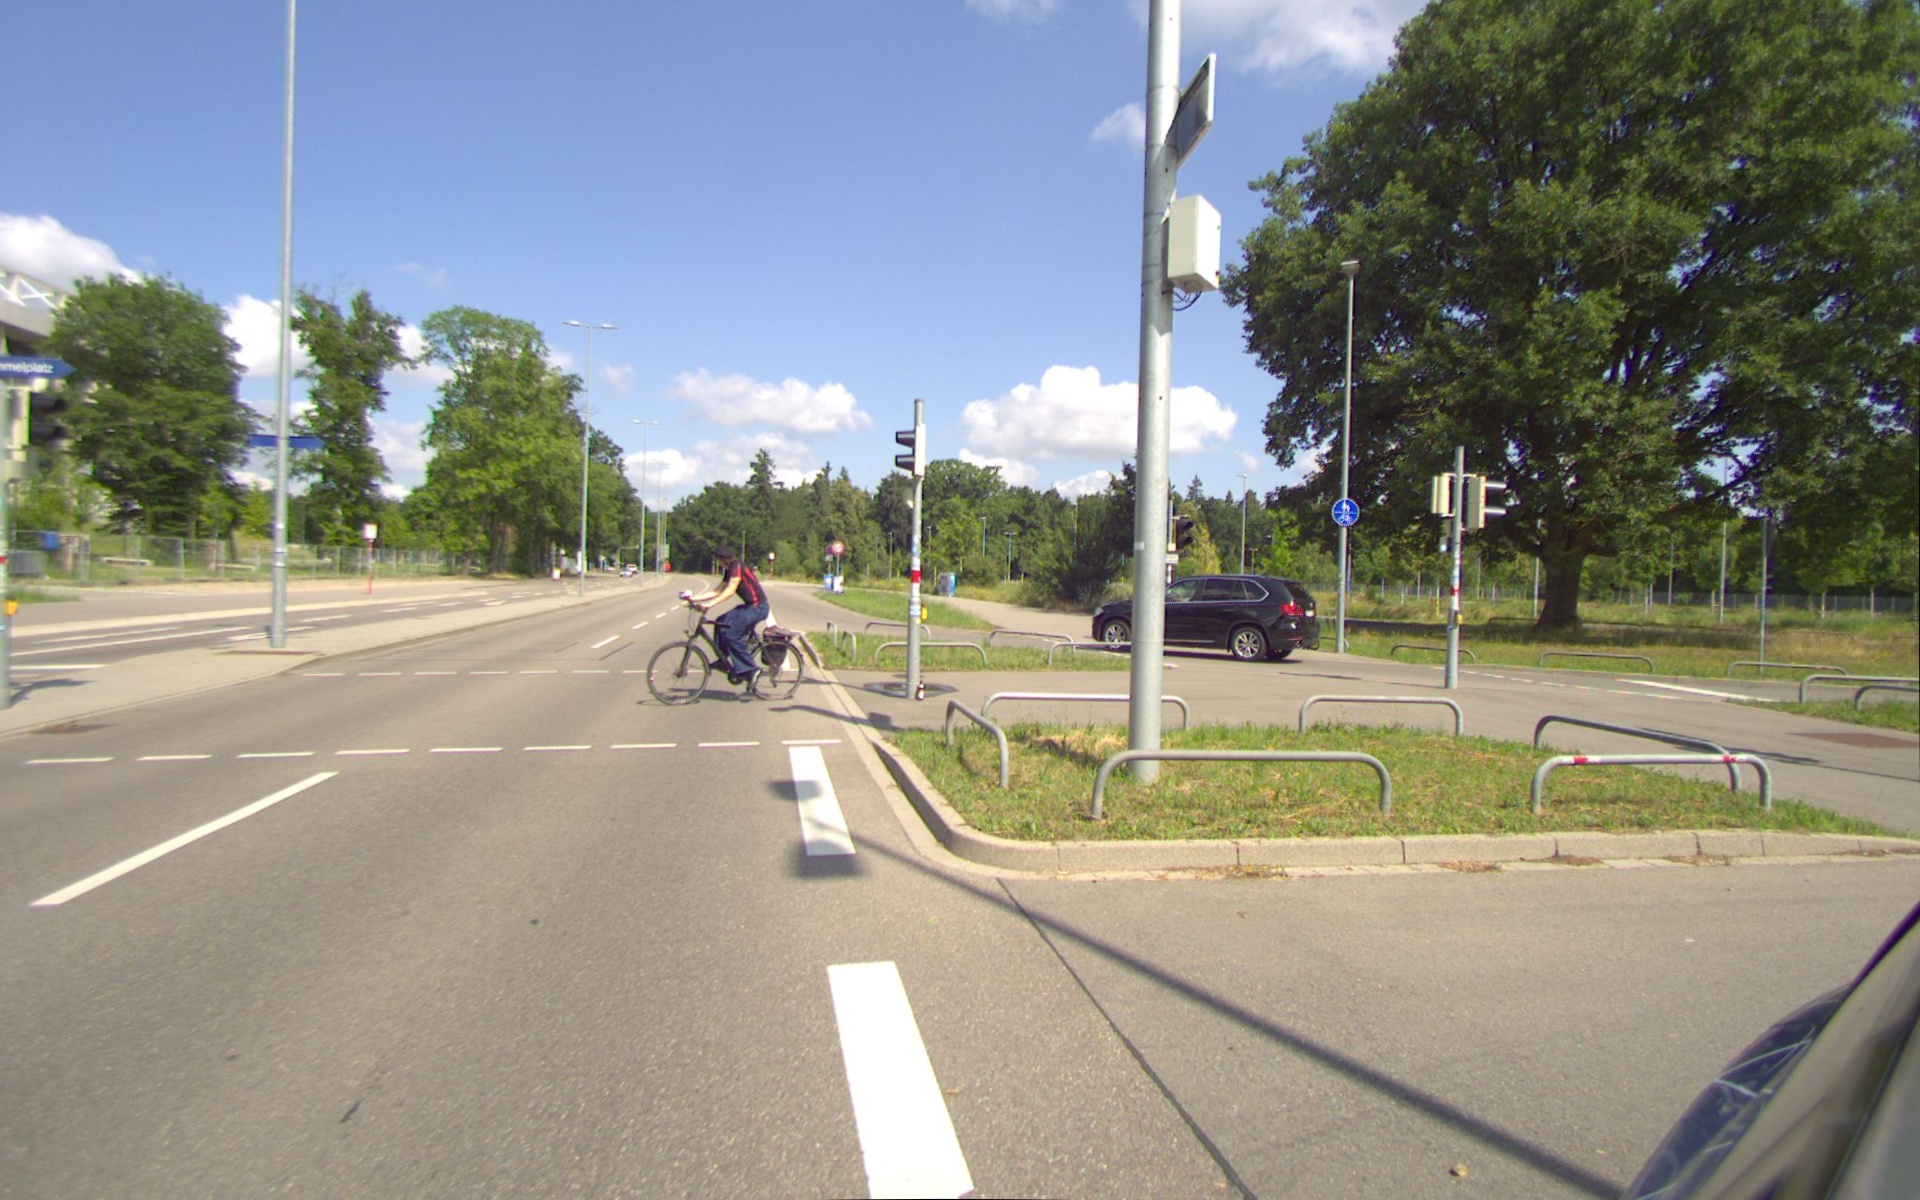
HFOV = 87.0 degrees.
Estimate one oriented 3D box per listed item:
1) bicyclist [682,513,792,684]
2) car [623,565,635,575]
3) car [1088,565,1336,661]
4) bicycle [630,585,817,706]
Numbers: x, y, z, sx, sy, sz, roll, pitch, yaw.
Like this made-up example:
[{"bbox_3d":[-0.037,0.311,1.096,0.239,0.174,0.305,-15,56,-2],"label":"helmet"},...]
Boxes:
[{"bbox_3d":[-2.526,-0.041,11.437,0.960,1.819,0.888,-1,2,-34],"label":"bicyclist"},{"bbox_3d":[-51.006,-4.685,155.875,1.547,1.497,3.579,0,2,-16],"label":"car"},{"bbox_3d":[5.203,0.180,21.174,4.677,1.786,1.957,2,2,35],"label":"car"},{"bbox_3d":[-2.650,0.461,11.382,1.861,1.221,0.884,-1,2,-35],"label":"bicycle"}]
